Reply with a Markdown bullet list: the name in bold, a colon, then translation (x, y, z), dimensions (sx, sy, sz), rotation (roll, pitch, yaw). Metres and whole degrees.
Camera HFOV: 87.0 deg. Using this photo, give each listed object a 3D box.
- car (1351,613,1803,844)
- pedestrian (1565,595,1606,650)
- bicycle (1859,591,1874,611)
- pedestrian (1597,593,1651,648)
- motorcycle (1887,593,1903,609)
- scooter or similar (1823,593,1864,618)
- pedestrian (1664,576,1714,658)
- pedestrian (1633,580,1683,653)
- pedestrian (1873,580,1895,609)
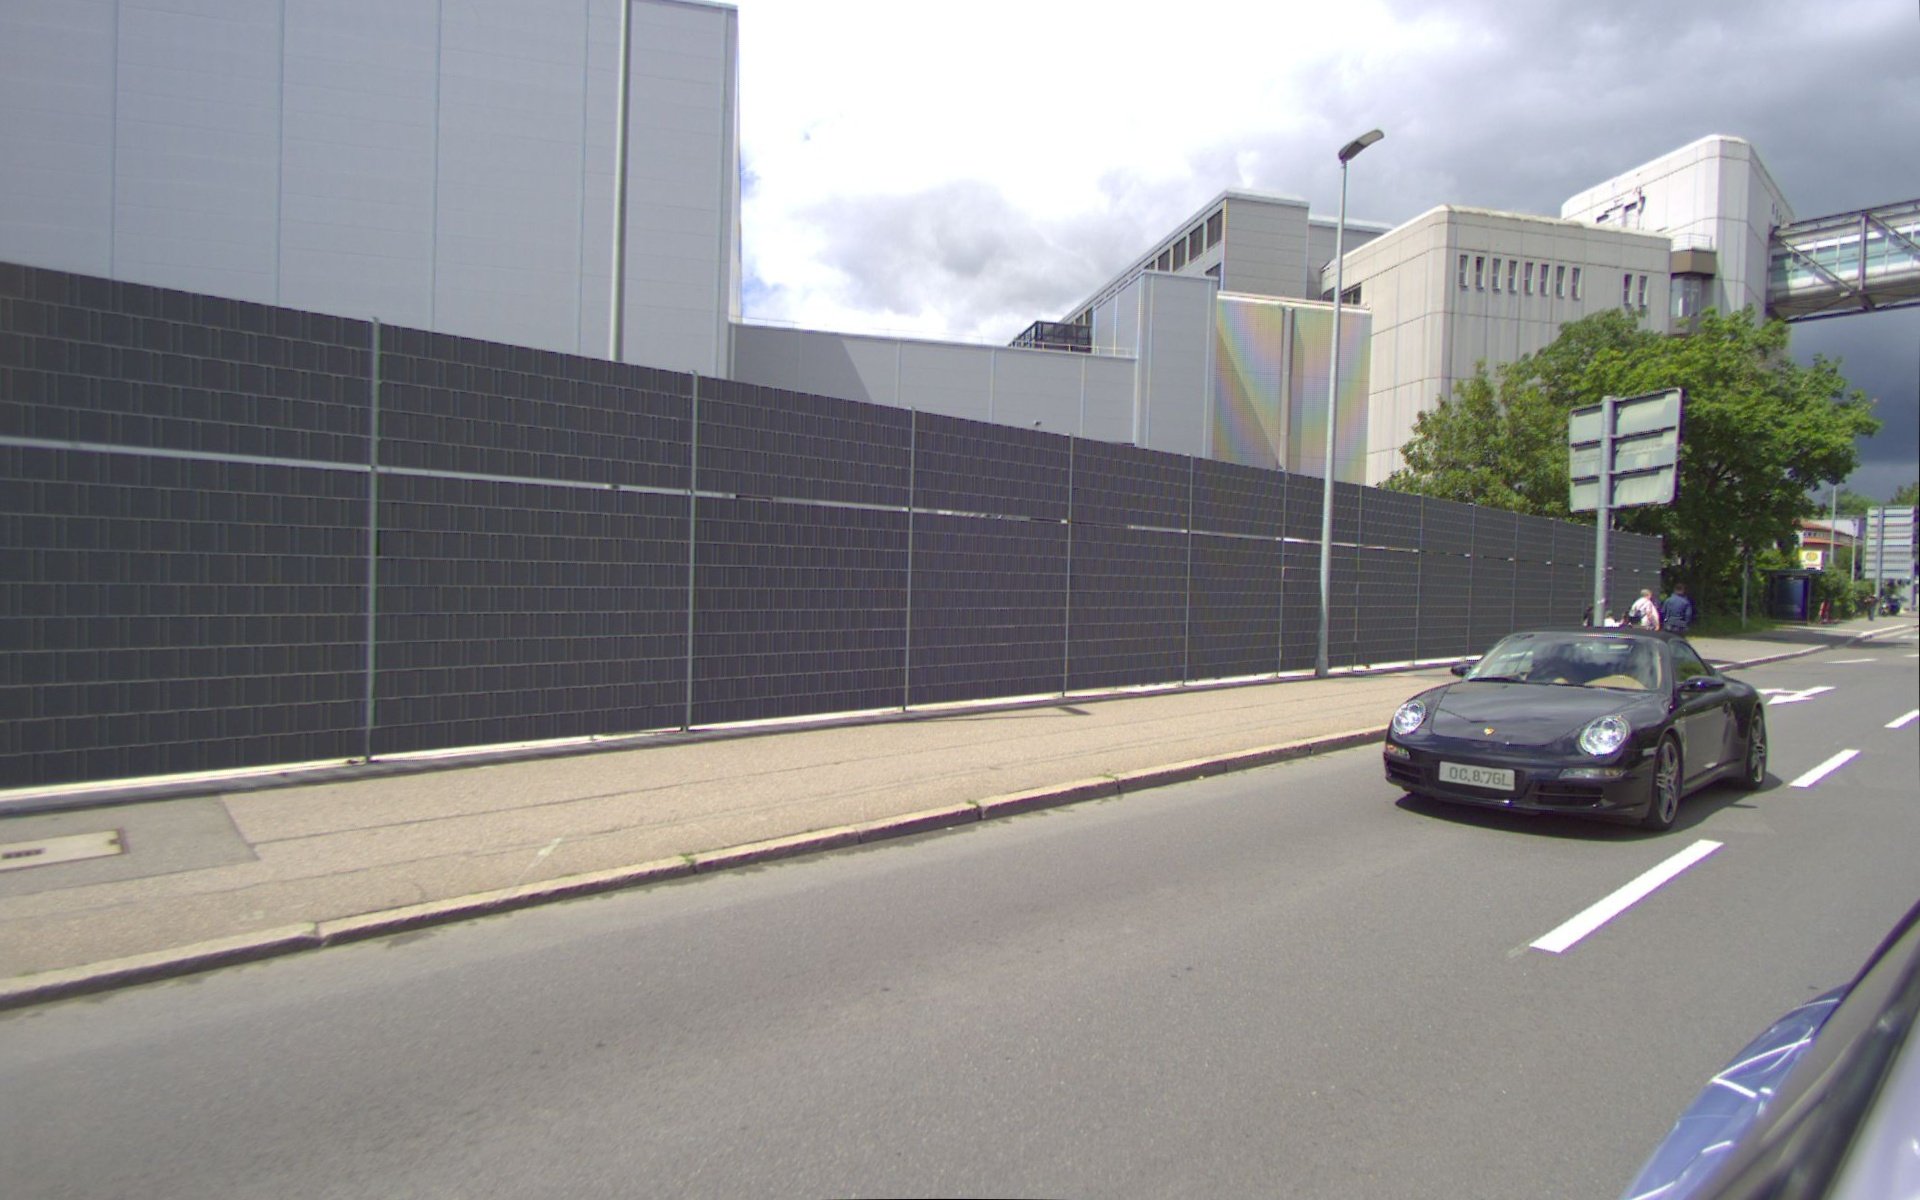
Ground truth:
- **car**: translation (4.942, 0.797, 7.919), dimensions (3.928, 1.342, 1.838), rotation (1, -1, -39)
- **pedestrian**: translation (14.301, 0.500, 23.146), dimensions (0.703, 1.222, 0.598), rotation (-1, 1, -39)
- **bicycle**: translation (56.041, 0.045, 62.555), dimensions (2.427, 1.194, 0.444), rotation (-1, 1, -43)
- **pedestrian**: translation (14.903, 0.444, 22.706), dimensions (0.954, 1.163, 0.759), rotation (-1, 1, -39)
- **motorcycle**: translation (64.053, 0.065, 69.346), dimensions (2.002, 1.080, 0.592), rotation (-1, 3, -42)
- **scooter or similar**: translation (42.241, 0.261, 48.401), dimensions (1.754, 1.177, 0.544), rotation (1, 2, -15)
- **pedestrian**: translation (15.866, 0.355, 22.021), dimensions (0.795, 1.742, 0.720), rotation (0, 1, 45)
- **pedestrian**: translation (15.939, 0.363, 23.107), dimensions (0.719, 1.617, 0.795), rotation (-1, 1, -43)
- **pedestrian**: translation (53.699, -0.337, 58.801), dimensions (0.981, 1.664, 0.810), rotation (-1, 3, -44)
